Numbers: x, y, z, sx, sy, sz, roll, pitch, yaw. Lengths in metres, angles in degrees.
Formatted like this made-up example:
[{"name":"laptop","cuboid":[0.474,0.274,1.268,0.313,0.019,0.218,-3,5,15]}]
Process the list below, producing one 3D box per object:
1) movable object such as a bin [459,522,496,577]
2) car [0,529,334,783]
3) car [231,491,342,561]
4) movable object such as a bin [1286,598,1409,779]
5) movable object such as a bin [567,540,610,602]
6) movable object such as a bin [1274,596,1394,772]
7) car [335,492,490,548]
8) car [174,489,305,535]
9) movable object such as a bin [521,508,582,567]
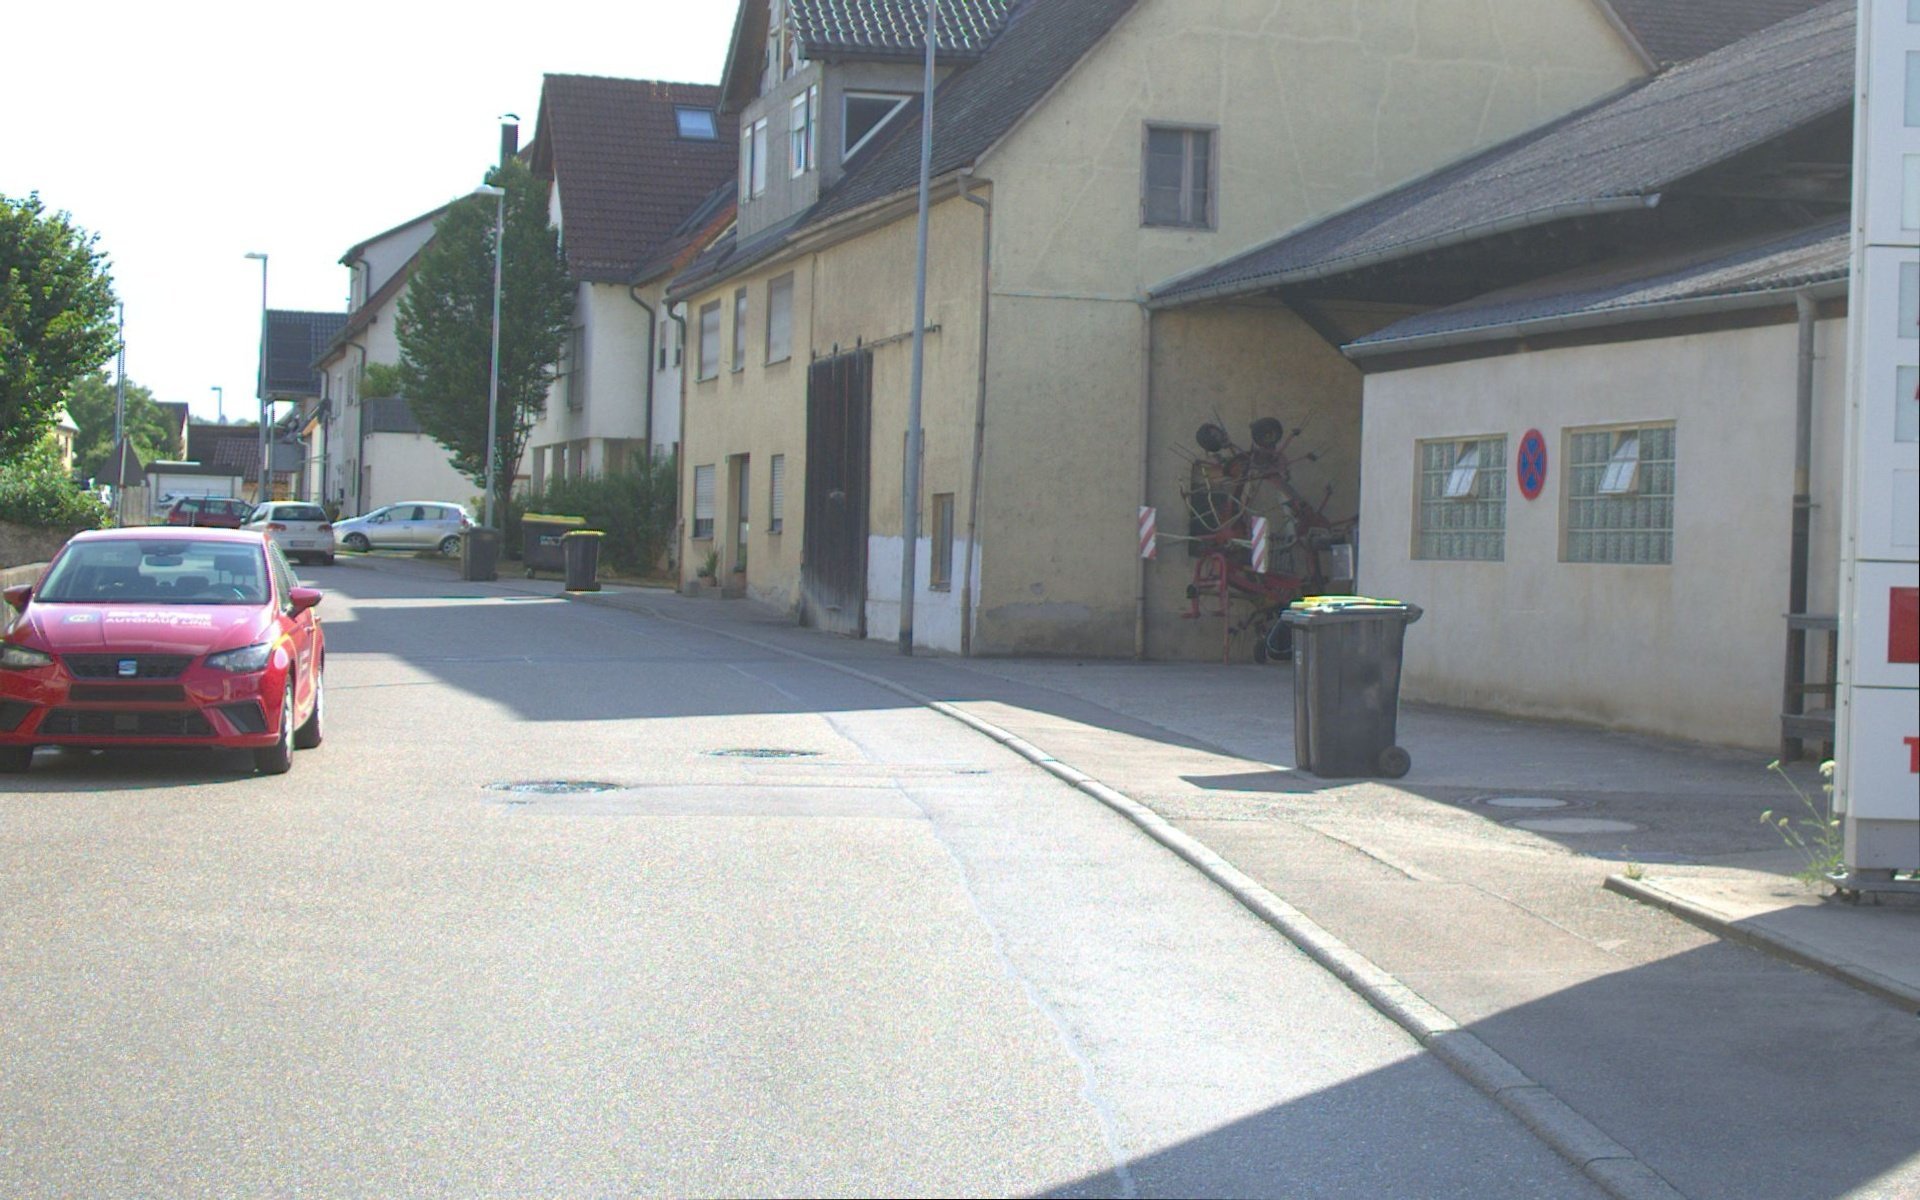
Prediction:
[{"name":"movable object such as a bin","cuboid":[-9.596,-1.007,68.383,0.652,1.070,0.513,1,1,-15]},{"name":"car","cuboid":[-4.868,0.298,21.302,1.708,1.430,3.781,0,1,-7]},{"name":"car","cuboid":[-15.846,-1.752,80.773,1.704,1.573,4.001,1,1,-24]},{"name":"movable object such as a bin","cuboid":[2.373,0.538,21.081,0.653,1.070,0.513,1,1,-2]},{"name":"movable object such as a bin","cuboid":[-6.492,-0.506,60.029,0.652,1.070,0.513,1,1,-15]},{"name":"movable object such as a bin","cuboid":[2.349,0.525,21.637,0.653,1.070,0.513,1,1,-2]},{"name":"car","cuboid":[-14.403,-2.110,90.580,3.986,1.348,1.711,1,1,-8]},{"name":"car","cuboid":[-22.929,-2.805,109.407,3.985,1.348,1.711,1,1,-14]},{"name":"movable object such as a bin","cuboid":[-8.348,-1.280,70.186,1.160,1.164,0.655,1,1,-11]}]
